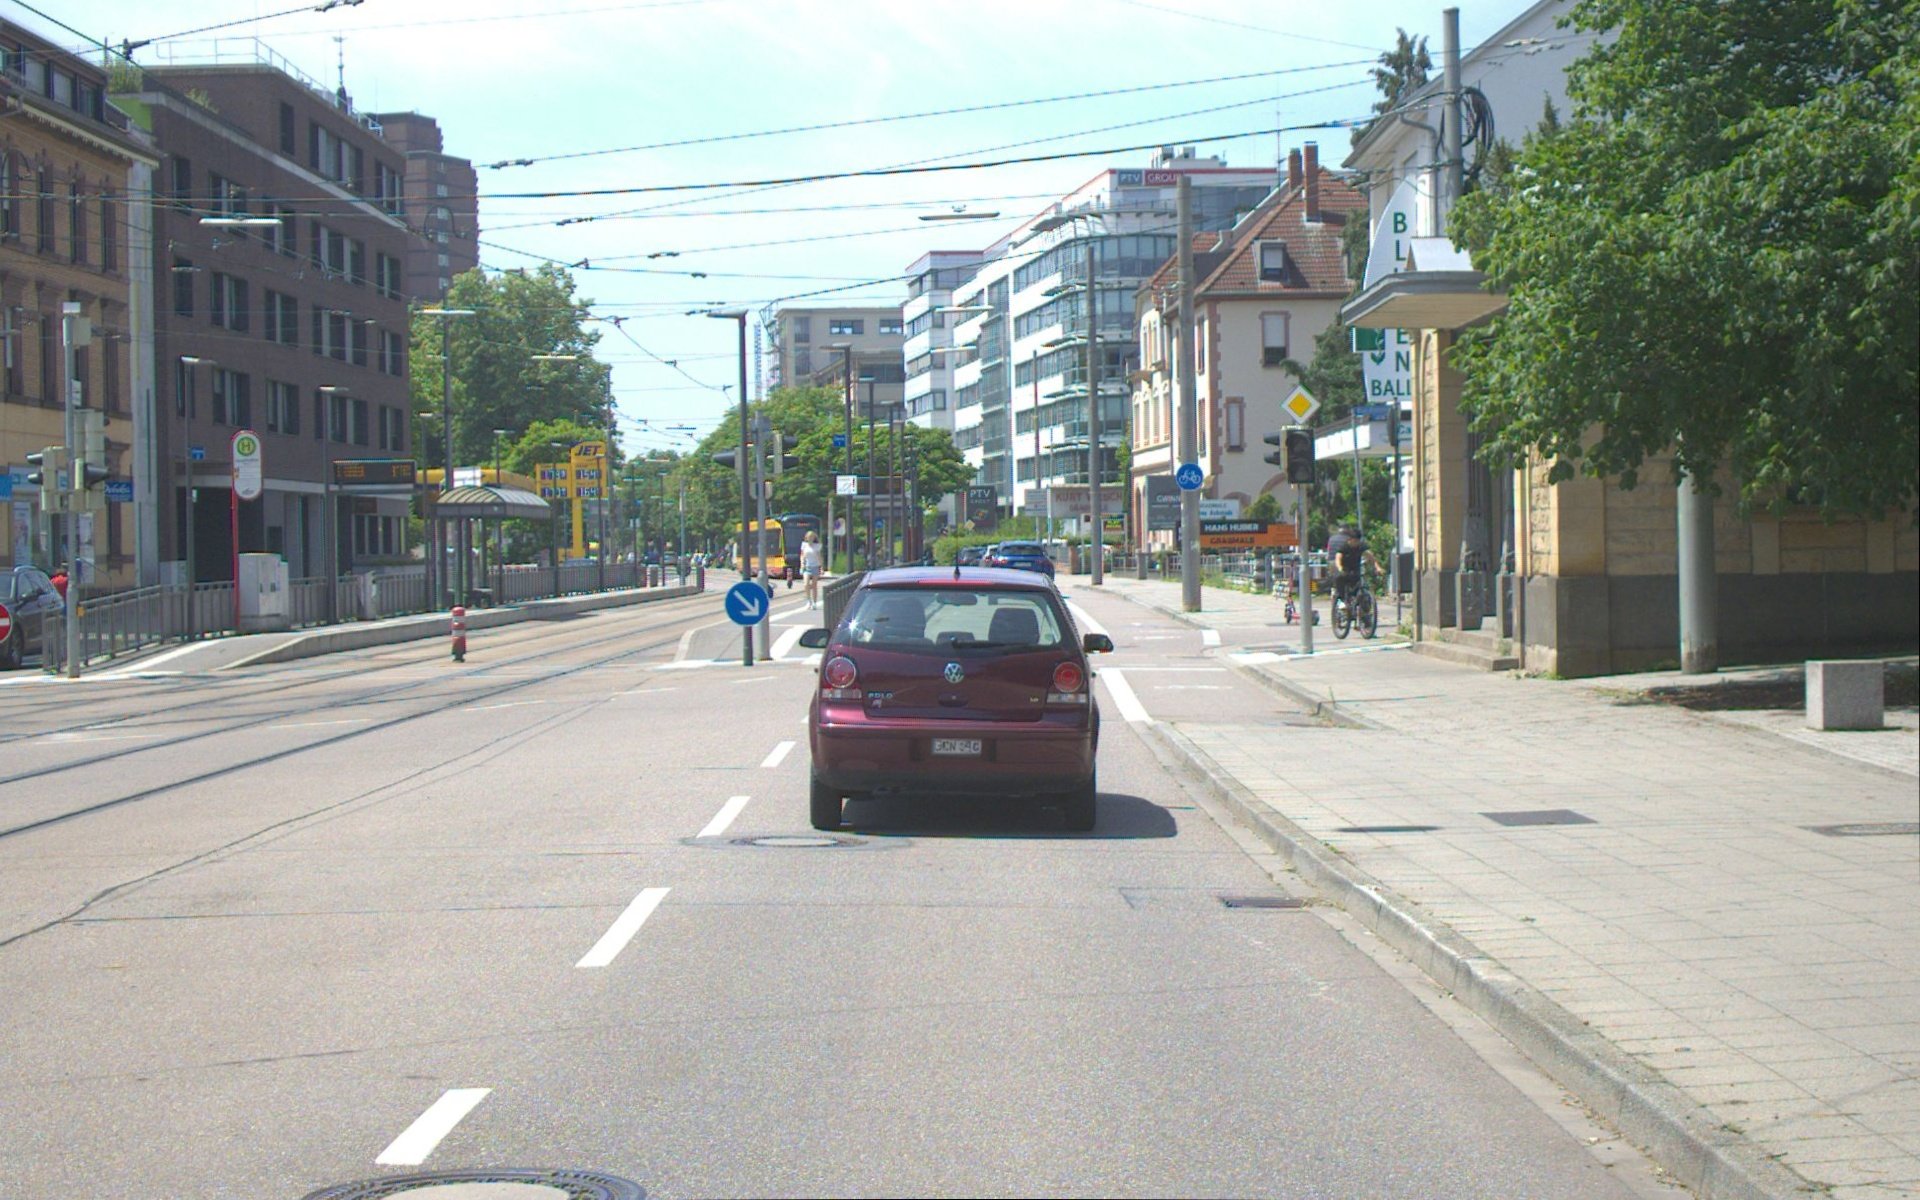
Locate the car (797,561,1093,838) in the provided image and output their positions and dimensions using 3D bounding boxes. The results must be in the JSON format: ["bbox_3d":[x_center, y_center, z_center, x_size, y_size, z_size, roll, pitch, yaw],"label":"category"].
[{"bbox_3d":[-0.079,0.519,20.020,1.561,1.448,3.062,-1,1,0],"label":"car"}]

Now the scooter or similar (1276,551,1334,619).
[{"bbox_3d":[6.025,-0.261,60.097,0.339,1.174,1.468,-1,1,-23],"label":"scooter or similar"}]

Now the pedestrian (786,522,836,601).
[{"bbox_3d":[-3.207,-0.830,74.057,0.763,1.669,1.100,-1,1,15],"label":"pedestrian"}]

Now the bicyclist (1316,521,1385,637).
[{"bbox_3d":[5.800,-0.322,51.057,0.832,1.612,0.860,-4,3,2],"label":"bicyclist"}]

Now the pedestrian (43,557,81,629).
[{"bbox_3d":[-19.837,-0.154,75.947,0.614,1.555,0.640,-1,1,0],"label":"pedestrian"}]

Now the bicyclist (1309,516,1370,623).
[{"bbox_3d":[6.353,-0.510,57.535,0.728,1.754,0.923,-1,1,24],"label":"bicyclist"}]

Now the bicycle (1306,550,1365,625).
[{"bbox_3d":[6.283,-0.216,57.448,0.376,1.193,1.903,-2,1,24],"label":"bicycle"}]

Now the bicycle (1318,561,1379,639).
[{"bbox_3d":[5.770,-0.010,51.113,0.668,0.999,1.864,-4,3,2],"label":"bicycle"}]

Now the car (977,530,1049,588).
[{"bbox_3d":[1.516,-1.205,100.439,1.993,1.619,4.632,-1,1,0],"label":"car"}]

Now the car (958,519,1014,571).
[{"bbox_3d":[0.950,-2.022,126.260,1.993,1.842,4.000,-1,1,0],"label":"car"}]

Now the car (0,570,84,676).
[{"bbox_3d":[-15.547,0.357,54.791,1.794,1.574,4.494,-1,1,3],"label":"car"}]
